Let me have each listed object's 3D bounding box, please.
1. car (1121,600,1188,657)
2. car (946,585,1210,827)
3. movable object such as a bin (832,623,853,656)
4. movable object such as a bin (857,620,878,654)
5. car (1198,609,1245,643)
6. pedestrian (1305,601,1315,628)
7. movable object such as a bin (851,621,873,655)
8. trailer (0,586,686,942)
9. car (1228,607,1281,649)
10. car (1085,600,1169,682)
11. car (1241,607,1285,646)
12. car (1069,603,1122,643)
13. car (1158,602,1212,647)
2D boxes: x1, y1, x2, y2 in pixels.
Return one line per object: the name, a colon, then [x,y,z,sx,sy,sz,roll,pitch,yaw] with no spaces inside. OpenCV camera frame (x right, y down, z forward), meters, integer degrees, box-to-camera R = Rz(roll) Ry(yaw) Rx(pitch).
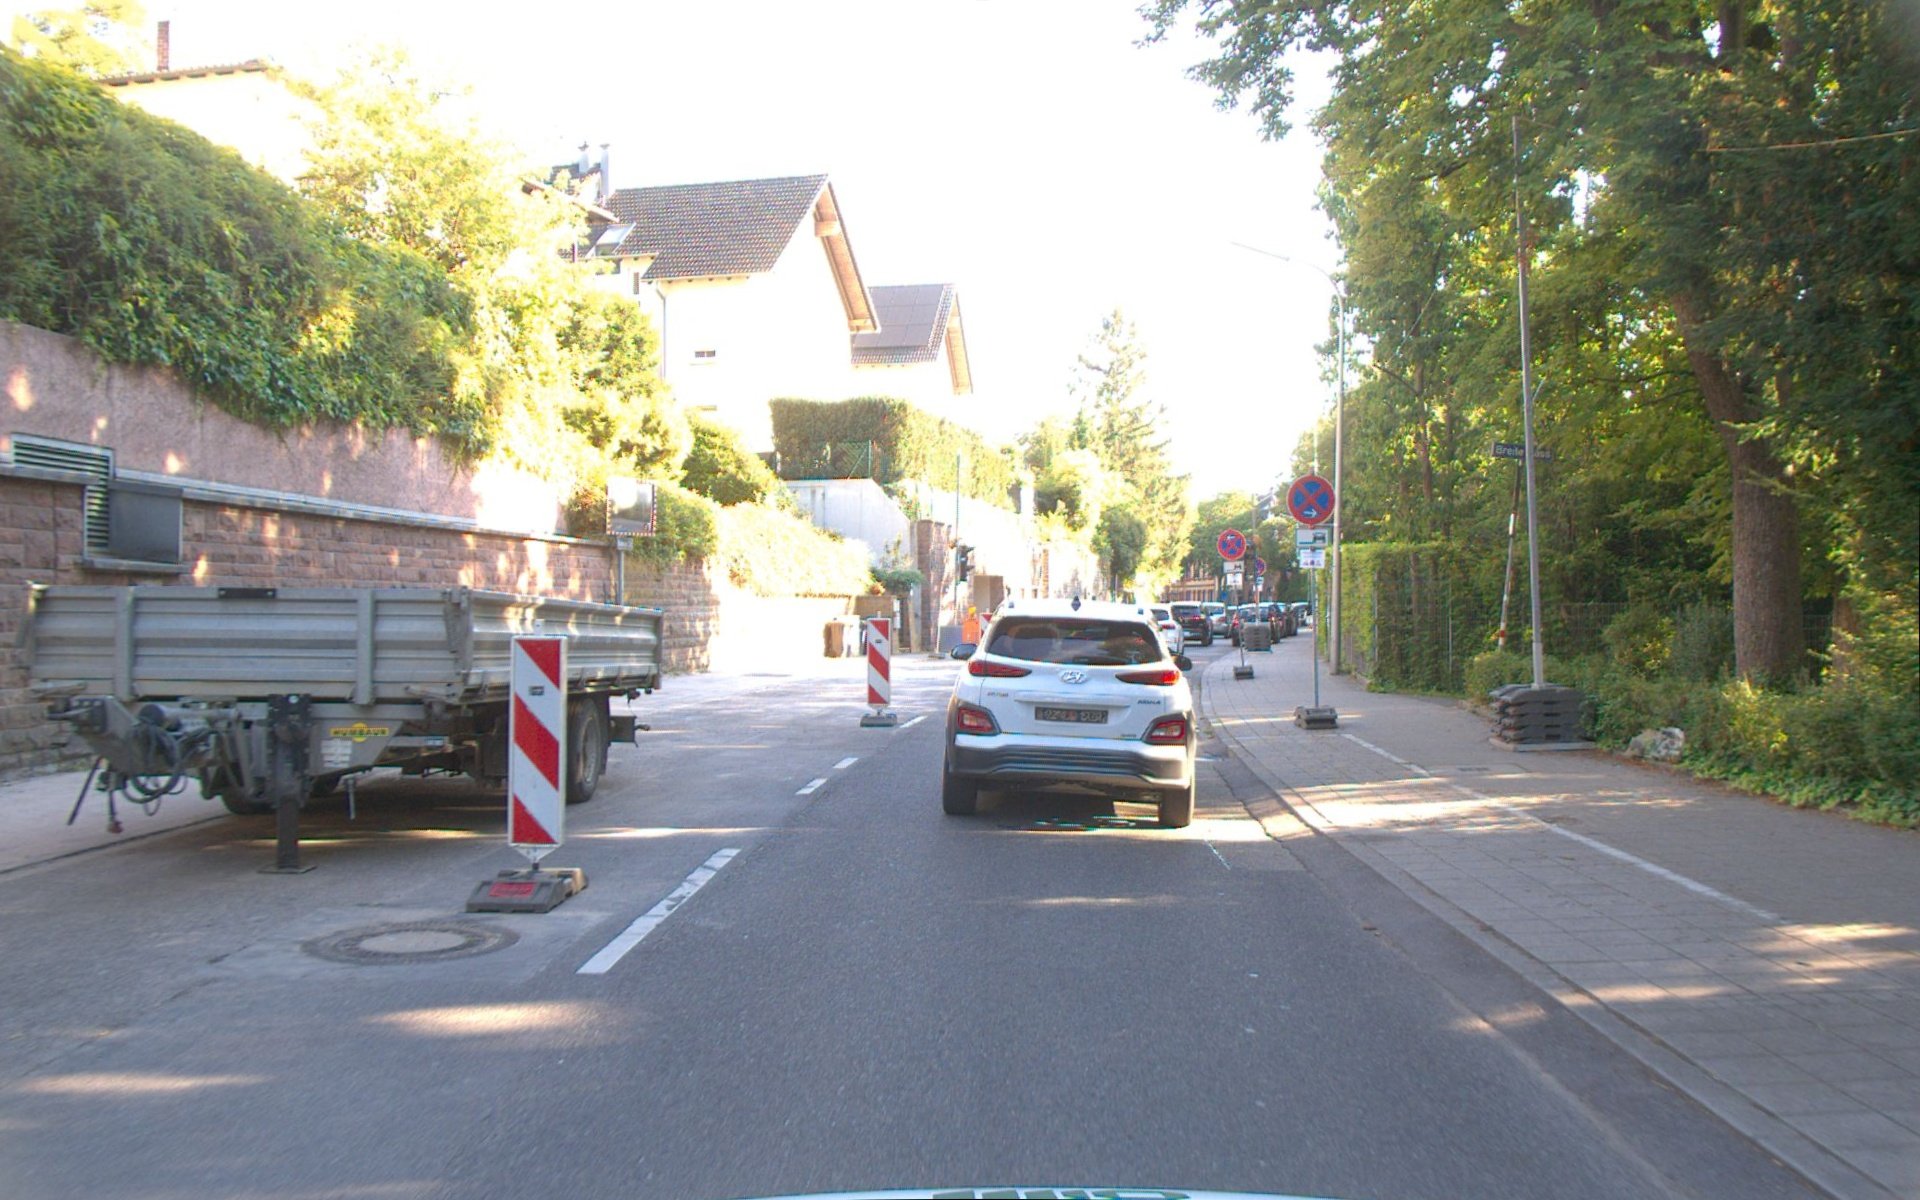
car: [5.518,0.770,46.556,1.537,1.503,3.551,1,0,12]
car: [0.918,0.710,13.057,1.735,1.569,4.002,1,0,4]
movable object such as a bin: [-3.034,1.027,42.737,0.444,0.848,0.392,0,0,11]
movable object such as a bin: [-2.541,1.010,45.244,0.446,0.899,0.501,1,0,12]
car: [12.050,1.179,76.045,1.658,1.472,3.884,2,0,15]
pedestrian: [20.913,0.869,98.698,0.492,1.635,0.491,-3,-1,14]
movable object such as a bin: [-2.651,1.017,44.730,0.446,0.899,0.501,1,0,12]
trailer: [-3.790,0.717,10.765,2.585,1.515,7.120,1,0,2]
car: [11.148,1.043,62.517,1.756,1.466,4.003,2,0,13]
car: [3.460,0.796,33.795,1.479,1.560,3.551,-1,0,9]
car: [13.231,1.141,72.145,1.618,1.591,2.874,2,0,15]
car: [5.197,0.859,63.046,1.592,1.447,3.566,-1,-1,11]
car: [8.437,0.915,61.789,1.657,1.560,3.884,2,0,12]
